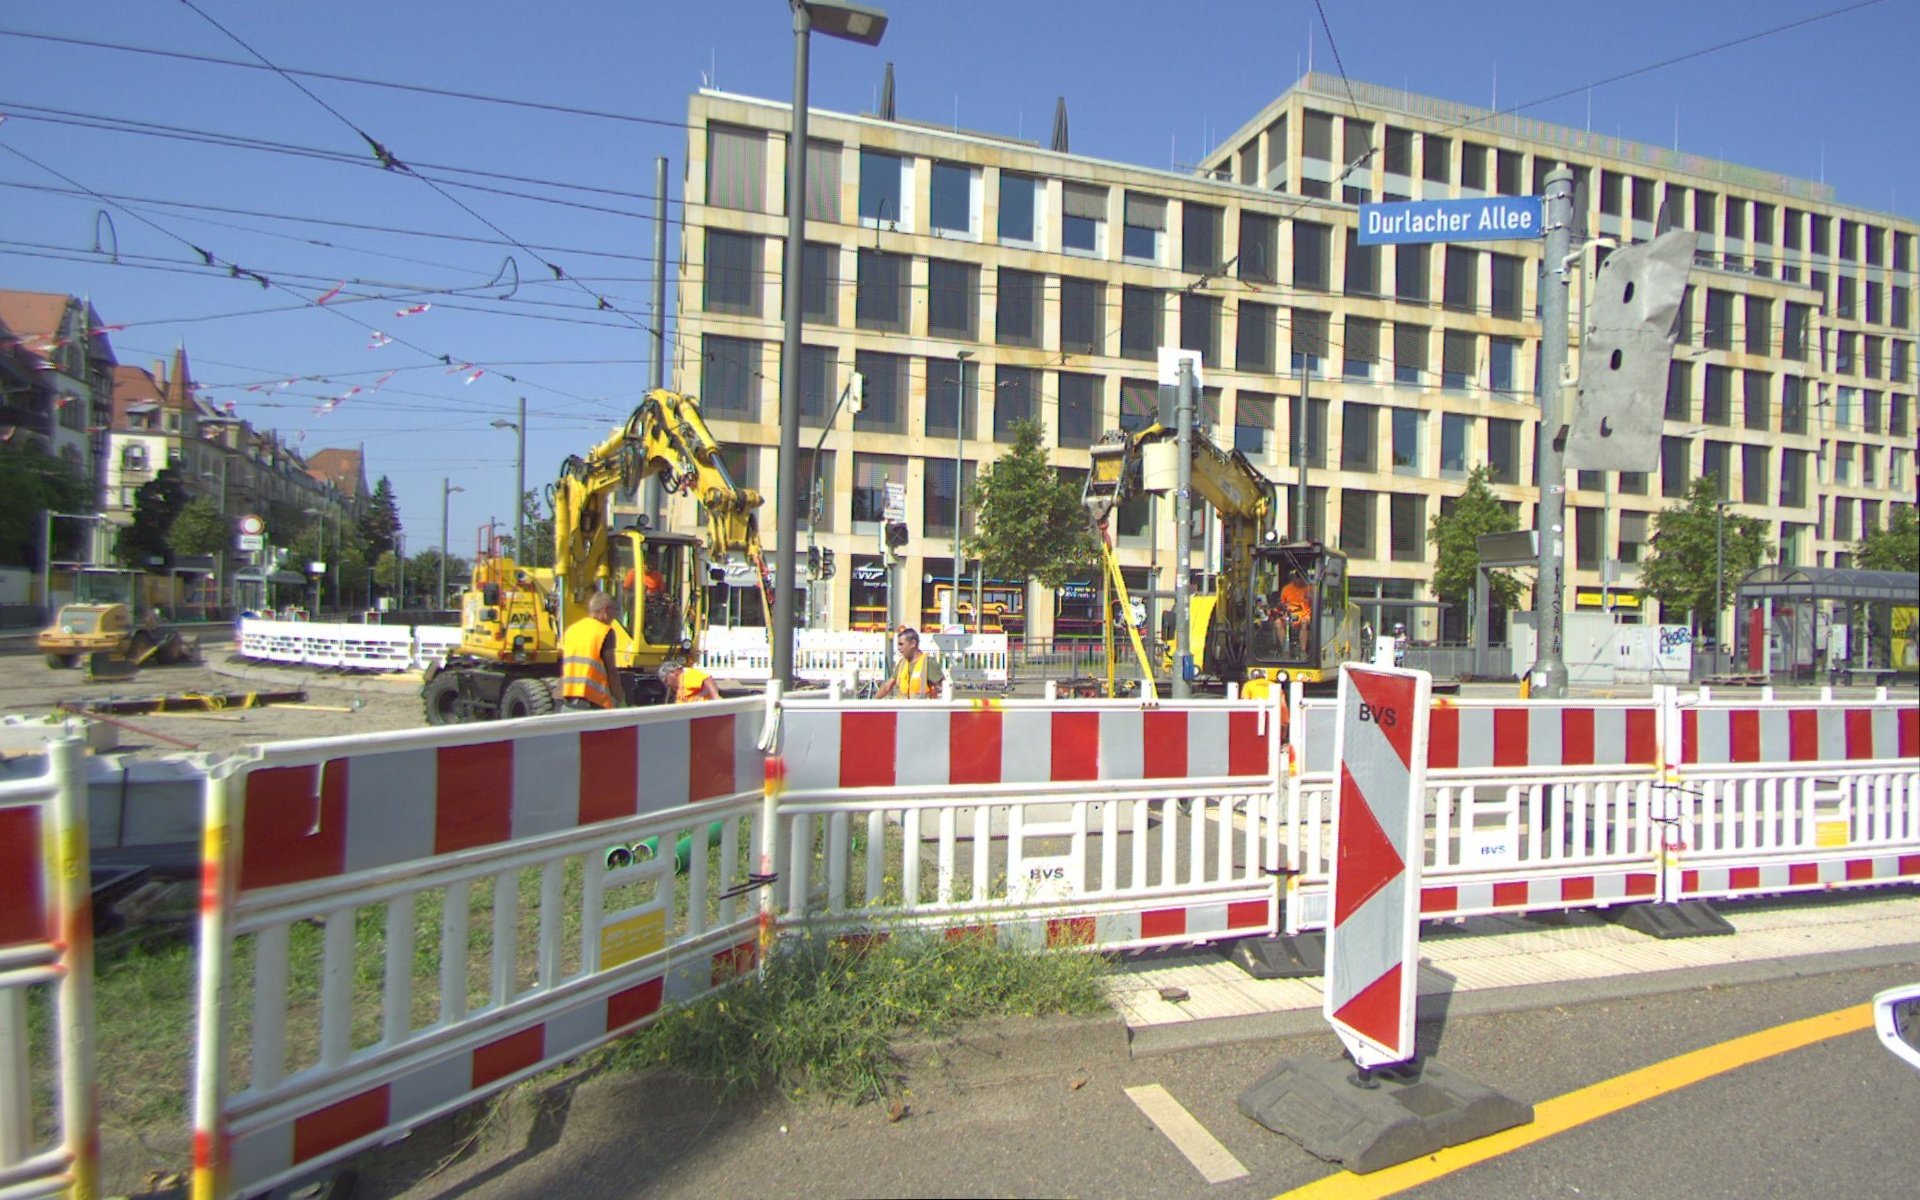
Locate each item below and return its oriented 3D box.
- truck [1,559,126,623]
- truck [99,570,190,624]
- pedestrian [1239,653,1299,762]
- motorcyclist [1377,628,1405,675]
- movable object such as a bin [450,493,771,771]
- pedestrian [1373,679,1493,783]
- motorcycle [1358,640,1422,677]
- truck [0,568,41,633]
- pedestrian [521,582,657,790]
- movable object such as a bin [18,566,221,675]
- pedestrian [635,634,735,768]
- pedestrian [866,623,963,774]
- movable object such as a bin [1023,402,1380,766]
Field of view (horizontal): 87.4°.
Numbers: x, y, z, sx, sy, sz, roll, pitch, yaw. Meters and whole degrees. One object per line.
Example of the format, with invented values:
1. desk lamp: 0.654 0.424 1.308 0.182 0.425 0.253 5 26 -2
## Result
1. truck: -46.631 -0.371 52.478 2.591 3.084 6.328 1 -1 -20
2. truck: -49.320 -0.121 60.945 2.204 3.084 6.328 1 -1 -20
3. pedestrian: 3.534 1.201 11.473 0.577 1.170 0.703 1 -1 22
4. motorcyclist: 11.221 1.346 26.139 0.507 1.194 0.430 3 -4 -13
5. movable object such as a bin: -5.163 0.441 14.490 3.529 3.265 4.089 2 -1 -32
6. pedestrian: 4.829 1.318 10.275 0.867 0.967 0.700 1 -1 -17
7. motorcycle: 11.199 1.533 26.157 1.606 0.889 0.430 3 -4 -13
8. truck: -43.489 -0.010 43.904 2.650 2.852 6.015 1 -1 -19
9. pedestrian: -2.811 0.629 7.665 0.689 1.498 0.743 1 -1 5
10. movable object such as a bin: -24.523 0.574 29.672 2.450 2.826 5.501 3 -1 -16
11. pedestrian: -2.575 0.922 9.458 0.688 1.193 0.703 1 -1 4
12. pedestrian: -0.414 0.897 9.471 0.820 1.353 0.703 1 -1 4
13. movable object such as a bin: 3.377 -0.138 14.694 4.141 4.614 2.988 1 -1 -15
